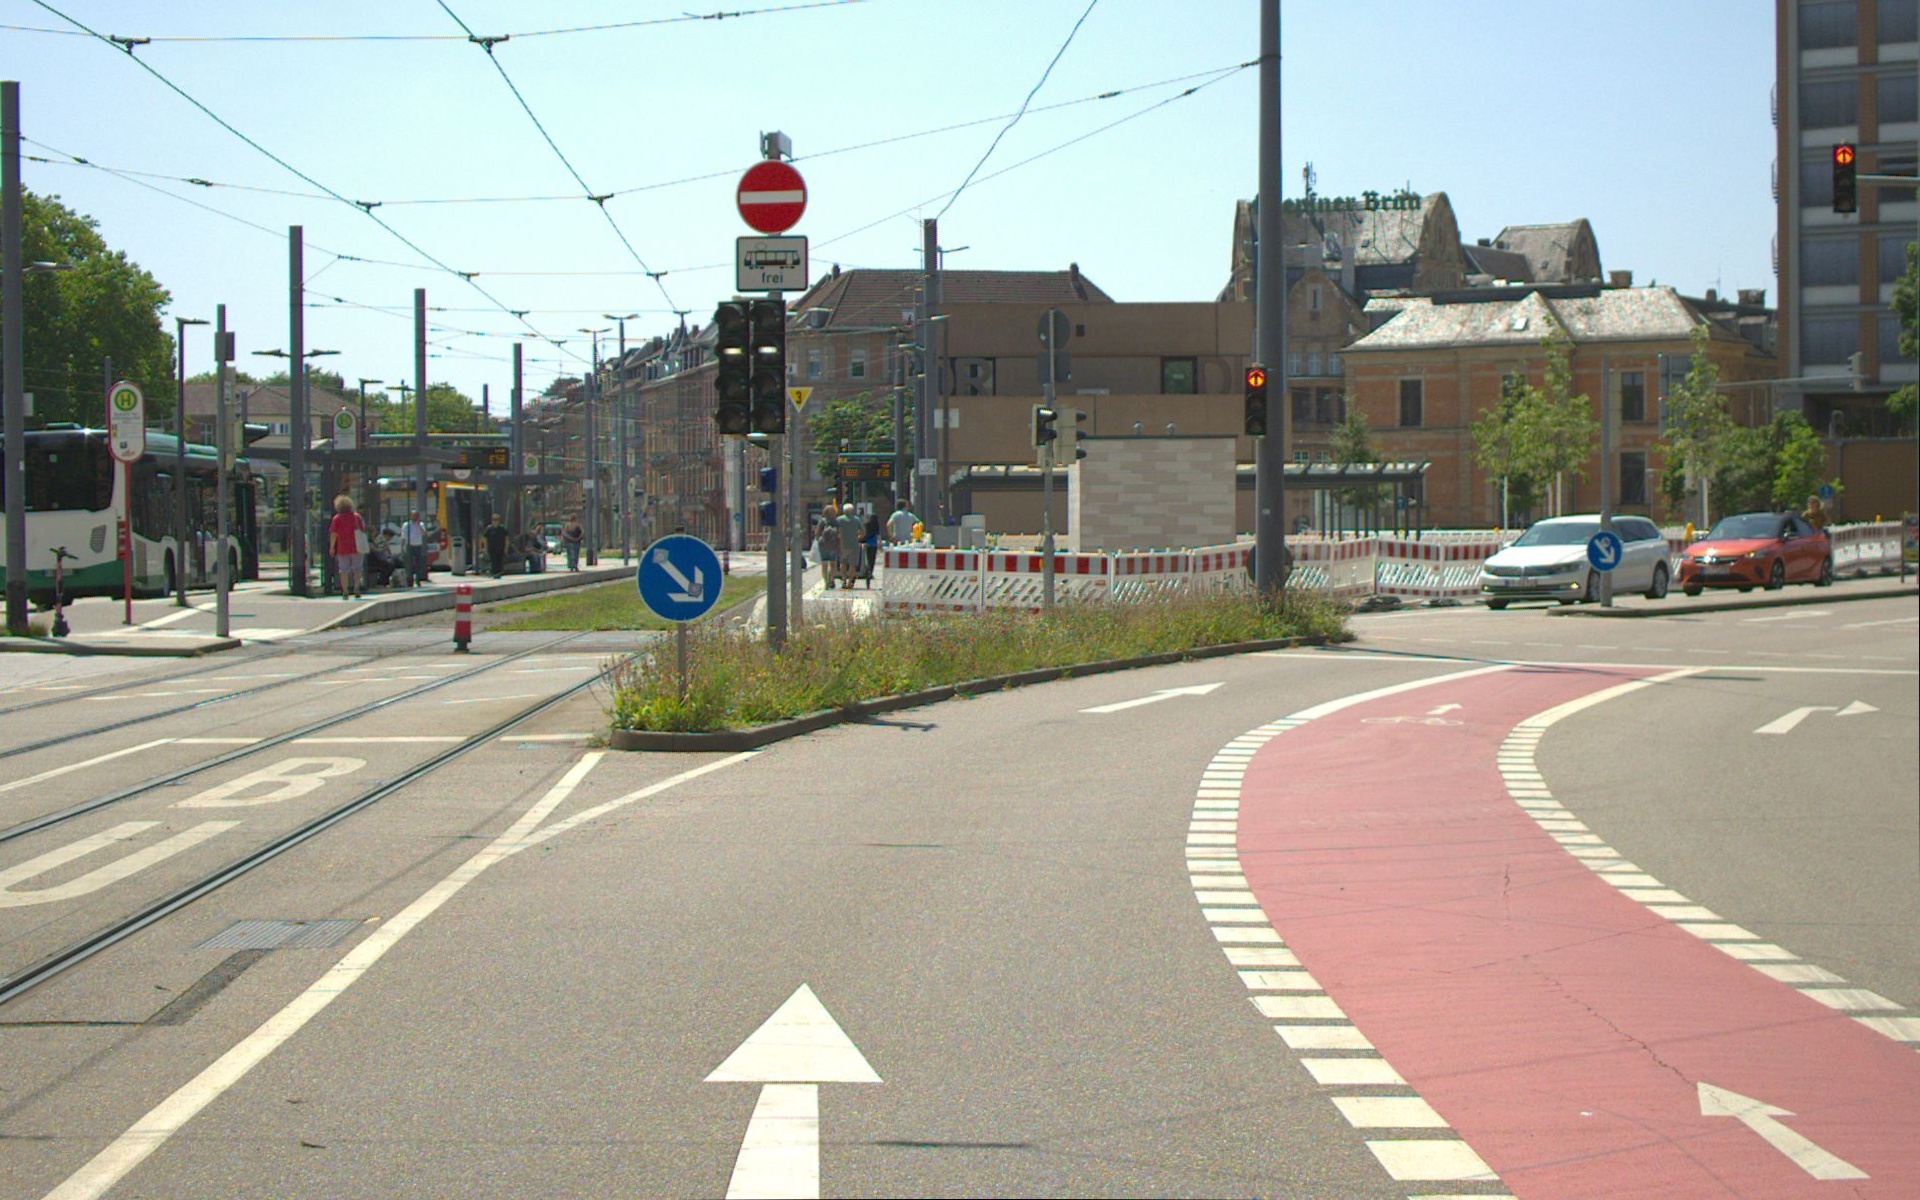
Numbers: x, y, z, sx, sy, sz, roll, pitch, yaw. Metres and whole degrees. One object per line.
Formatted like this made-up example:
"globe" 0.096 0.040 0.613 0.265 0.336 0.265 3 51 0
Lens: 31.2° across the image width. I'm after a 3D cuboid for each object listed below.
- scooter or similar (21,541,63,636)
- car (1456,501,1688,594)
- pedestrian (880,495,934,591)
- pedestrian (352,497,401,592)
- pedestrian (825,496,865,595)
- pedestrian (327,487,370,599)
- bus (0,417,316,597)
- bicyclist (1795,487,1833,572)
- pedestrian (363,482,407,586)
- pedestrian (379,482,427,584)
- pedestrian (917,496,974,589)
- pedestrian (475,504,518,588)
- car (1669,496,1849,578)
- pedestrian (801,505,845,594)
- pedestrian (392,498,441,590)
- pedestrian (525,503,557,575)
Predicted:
"scooter or similar" -11.981 -0.160 44.886 0.318 1.202 1.249 -1 2 -6
"car" 9.988 -0.868 55.828 1.997 1.433 4.696 0 1 34
"pedestrian" -1.034 -1.102 66.940 0.765 1.858 0.730 -1 1 -42
"pedestrian" -11.465 -1.097 67.531 0.911 1.845 0.658 -1 2 -11
"pedestrian" -2.264 -1.071 67.542 0.719 1.917 1.074 0 1 -6
"pedestrian" -10.474 -0.977 58.874 0.672 1.903 0.641 -1 2 -11
"bus" -16.043 -1.860 69.208 3.010 3.147 17.500 -1 2 -1
"bicyclist" 17.400 -1.434 70.049 0.568 1.713 0.506 0 2 40
"pedestrian" -11.693 -1.349 69.893 0.823 2.089 0.642 -1 2 -12
"pedestrian" -11.487 -1.384 70.838 0.899 2.089 0.832 -1 2 -12
"pedestrian" -0.288 -1.143 68.135 0.976 1.826 0.634 -1 2 -15
"pedestrian" -11.686 -1.366 86.698 0.899 2.089 0.831 -1 2 4
"car" 14.513 -1.151 62.326 1.735 1.420 4.115 0 1 36
"pedestrian" -2.638 -0.965 66.209 0.726 1.701 0.744 0 1 -13
"pedestrian" -12.442 -1.286 78.729 0.899 2.089 0.831 -1 2 4
"pedestrian" -12.321 -1.793 101.055 0.829 2.089 0.902 -1 2 -2
